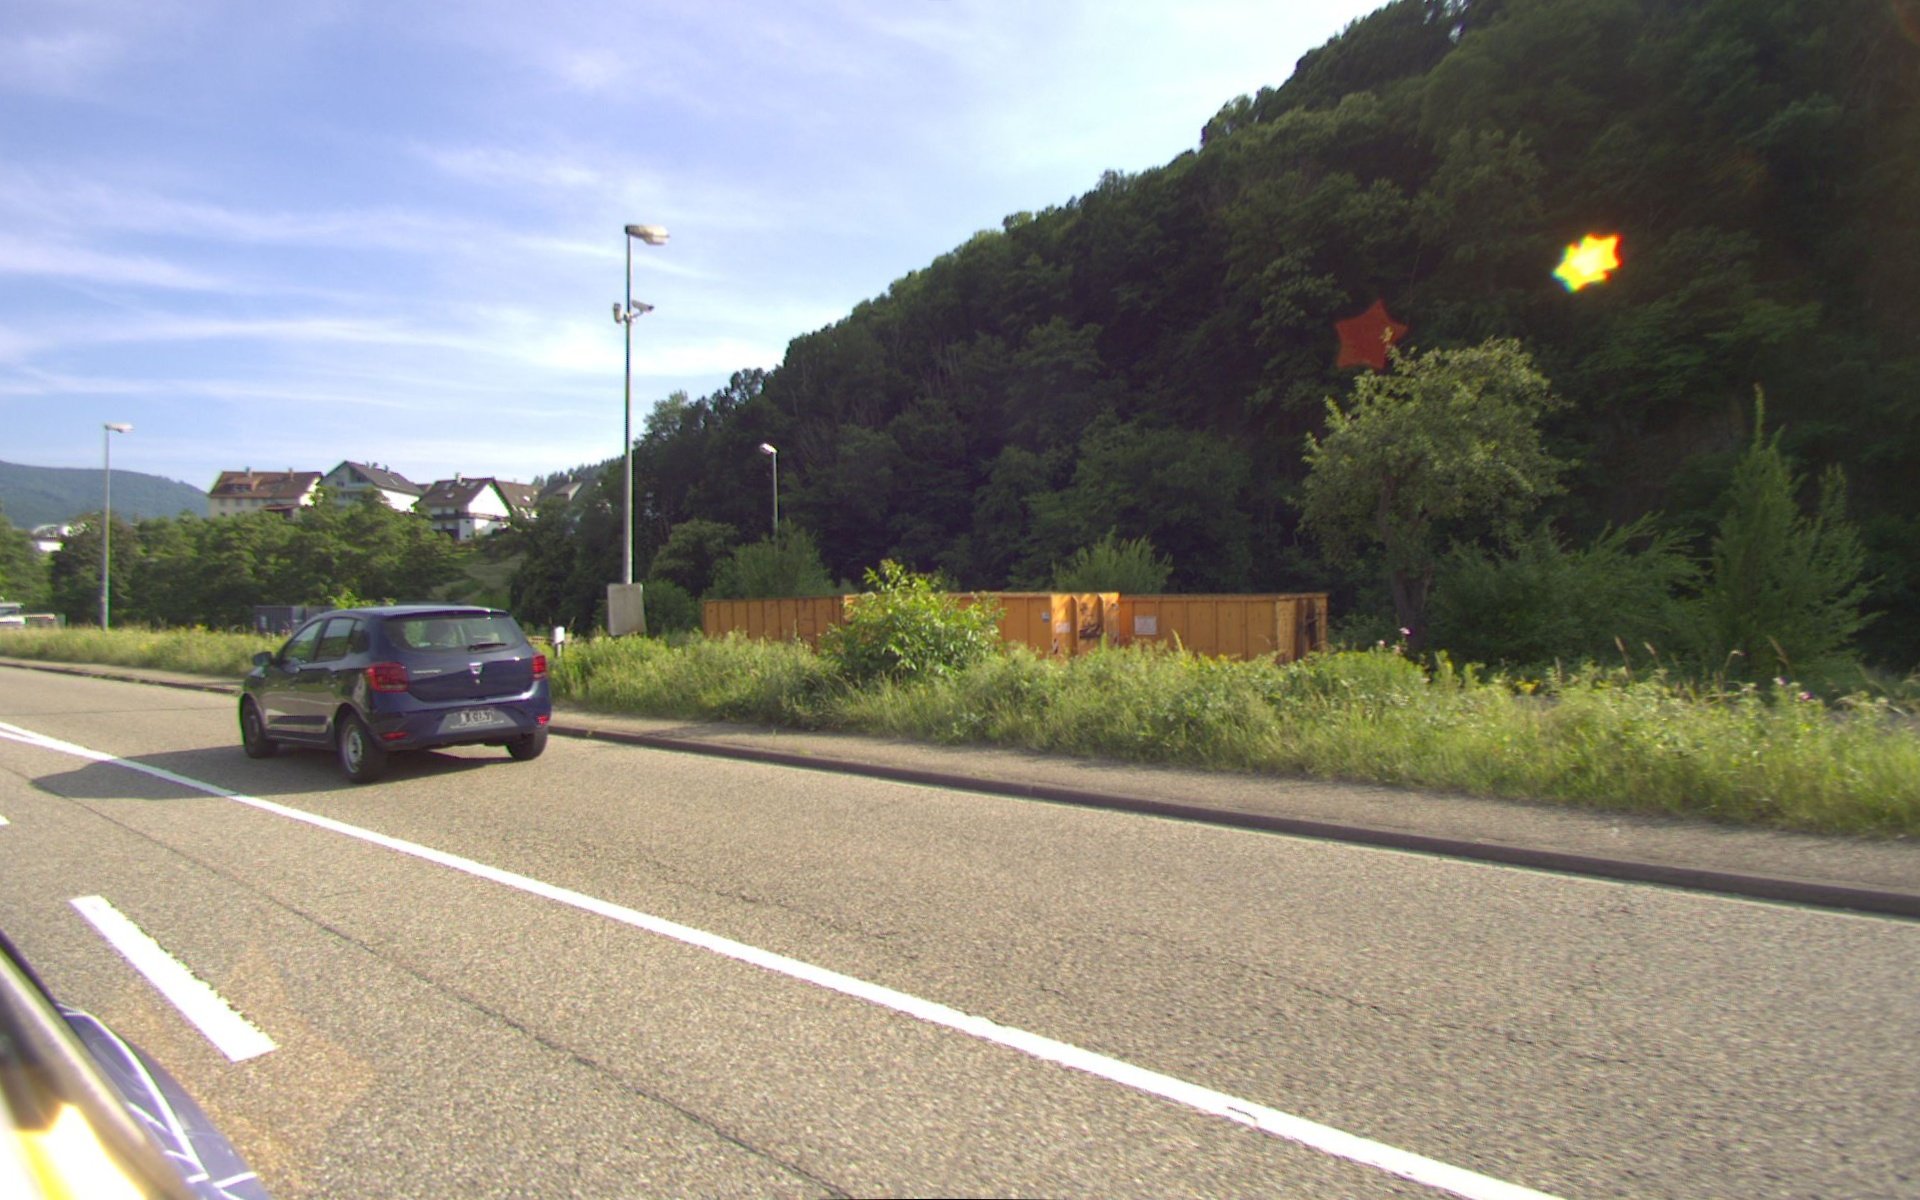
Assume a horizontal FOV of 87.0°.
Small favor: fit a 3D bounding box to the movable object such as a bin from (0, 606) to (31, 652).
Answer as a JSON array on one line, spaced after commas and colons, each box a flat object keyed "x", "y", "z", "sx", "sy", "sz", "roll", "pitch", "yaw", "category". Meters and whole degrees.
[{"x": -86.874, "y": 2.545, "z": 90.126, "sx": 7.754, "sy": 3.977, "sz": 2.886, "roll": 0, "pitch": -3, "yaw": 22, "category": "movable object such as a bin"}]

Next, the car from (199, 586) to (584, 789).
[{"x": -5.769, "y": 0.726, "z": 10.059, "sx": 4.310, "sy": 1.597, "sz": 1.829, "roll": -2, "pitch": 0, "yaw": 38, "category": "car"}]
